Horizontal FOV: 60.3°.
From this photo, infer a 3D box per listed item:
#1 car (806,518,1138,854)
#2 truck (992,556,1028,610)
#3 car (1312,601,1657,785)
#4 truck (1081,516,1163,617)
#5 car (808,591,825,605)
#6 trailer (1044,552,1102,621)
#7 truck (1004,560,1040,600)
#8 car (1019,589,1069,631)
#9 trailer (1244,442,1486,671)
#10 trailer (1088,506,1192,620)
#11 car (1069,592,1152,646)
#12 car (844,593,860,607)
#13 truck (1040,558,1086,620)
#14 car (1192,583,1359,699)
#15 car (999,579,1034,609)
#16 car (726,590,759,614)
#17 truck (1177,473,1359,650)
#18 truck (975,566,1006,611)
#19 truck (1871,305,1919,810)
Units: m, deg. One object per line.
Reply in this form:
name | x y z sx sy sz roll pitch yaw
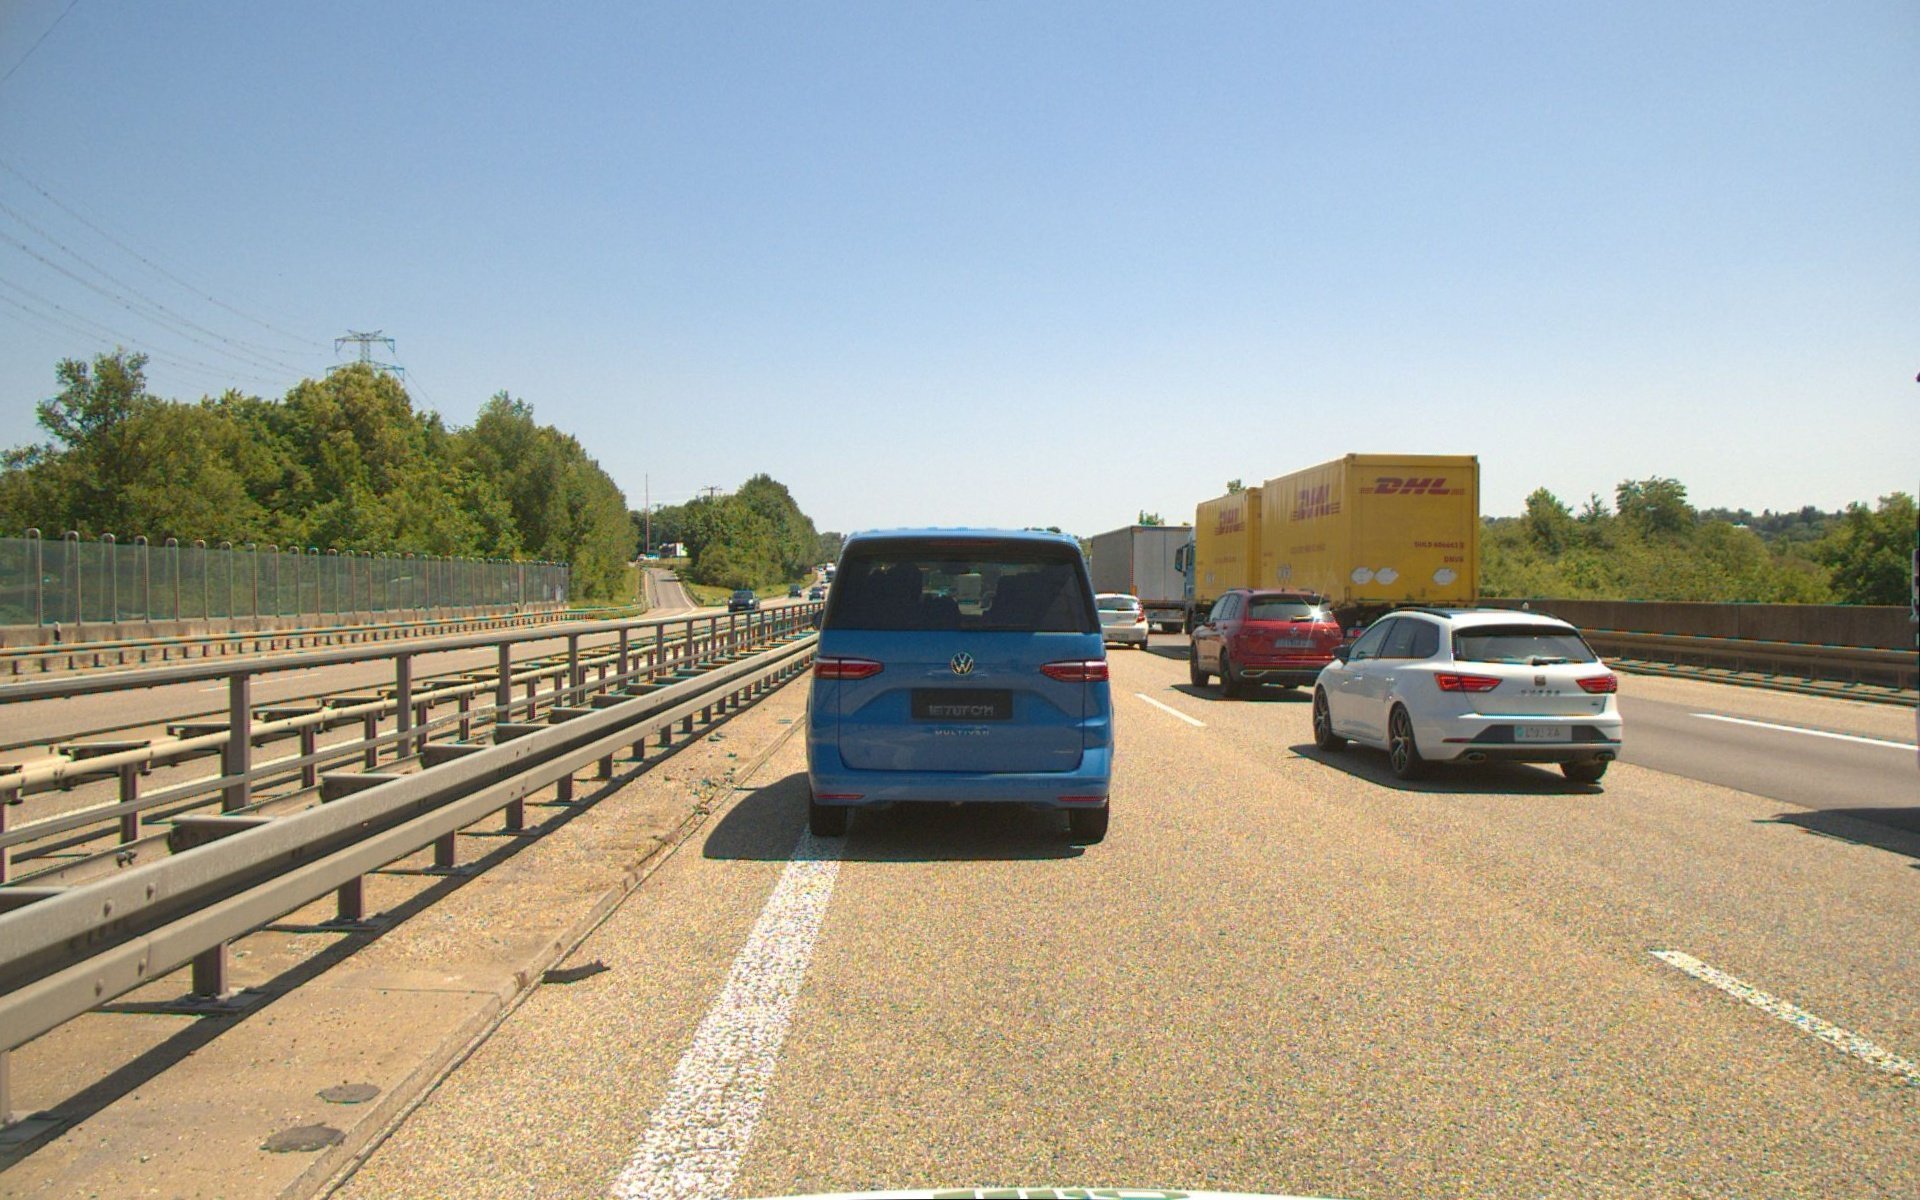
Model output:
car | 0.041 0.479 11.276 1.844 1.869 3.999 0 0 -1
truck | 4.918 -1.615 164.913 2.777 5.128 11.140 1 0 -2
car | 4.538 0.728 15.001 1.745 1.411 4.187 1 0 -1
truck | 7.048 -1.383 72.723 2.712 4.167 6.982 1 0 -1
car | -17.309 -0.193 200.102 1.719 1.574 3.999 -2 0 -1
trailer | 6.641 -0.723 98.412 2.331 3.809 11.184 1 0 -1
truck | 5.392 -1.721 145.185 2.308 3.275 9.736 1 0 -2
car | 3.307 0.375 65.785 1.680 1.614 3.820 -1 0 -2
trailer | 8.115 -0.768 34.472 2.647 4.094 8.928 1 0 -1
trailer | 7.132 -1.341 67.160 2.699 4.219 11.309 1 0 -1
car | 4.177 0.512 46.471 1.801 1.438 3.998 0 0 -3
car | -13.118 -0.011 200.351 1.719 1.751 4.100 -1 0 -1
truck | 6.476 -0.658 104.328 2.320 3.787 6.031 1 0 -1
car | 4.885 0.580 26.141 1.813 1.636 4.000 0 1 -1
car | 3.060 -0.304 90.292 1.680 1.567 3.820 -1 0 -1
car | -15.230 0.154 115.966 1.744 1.596 4.385 -2 0 -1
truck | 7.937 -0.871 44.122 2.667 4.125 10.333 1 0 -1
truck | 3.540 -1.278 195.118 2.777 5.128 11.810 1 0 -2
truck | 8.452 -0.307 7.236 2.793 3.666 10.765 1 0 -1
